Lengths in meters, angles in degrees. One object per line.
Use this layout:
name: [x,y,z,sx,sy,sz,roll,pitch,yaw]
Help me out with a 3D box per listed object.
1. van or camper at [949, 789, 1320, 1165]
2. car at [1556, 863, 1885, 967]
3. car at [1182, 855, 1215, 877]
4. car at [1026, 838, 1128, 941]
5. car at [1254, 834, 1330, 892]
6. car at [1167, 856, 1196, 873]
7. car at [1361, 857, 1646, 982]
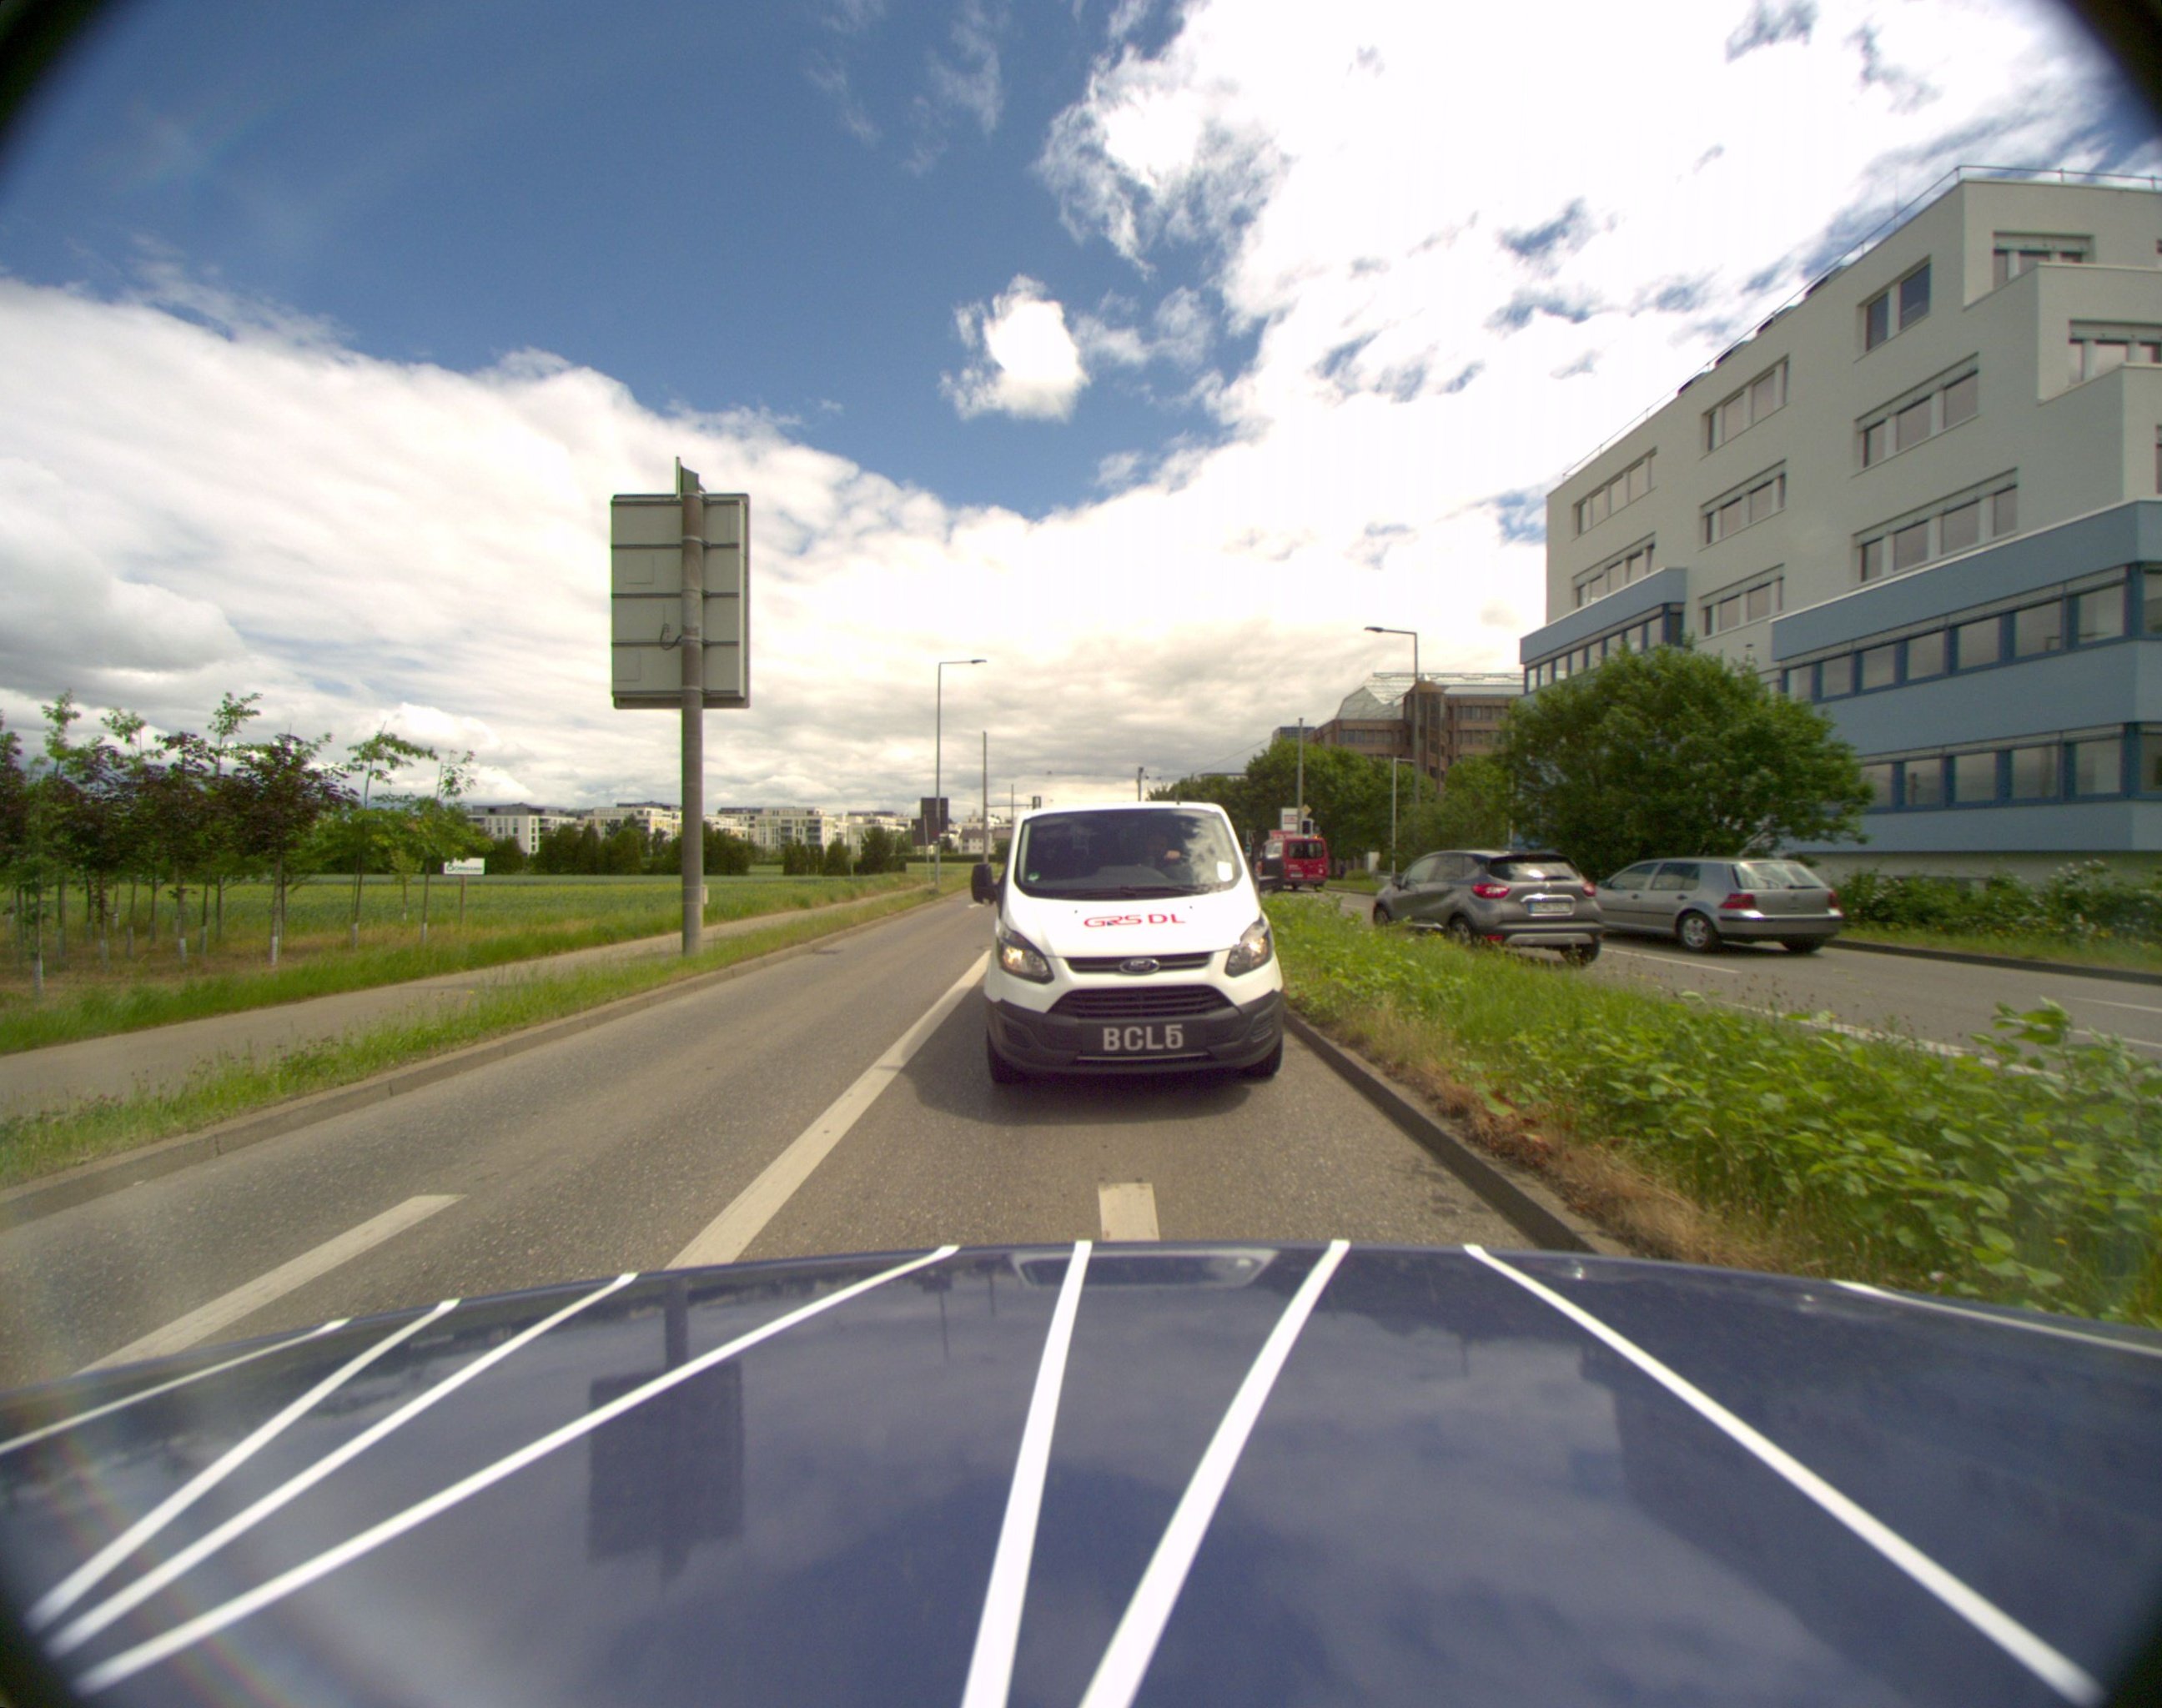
van or camper: [0.181,0.659,6.984,1.999,2.002,5.798,0,0,-2]
car: [9.938,0.849,12.318,1.998,1.346,4.000,-1,0,1]
car: [8.108,0.811,52.614,1.683,1.473,4.000,-1,0,0]
car: [-0.045,0.691,16.924,1.998,2.002,4.000,0,0,1]
car: [9.400,0.362,34.248,1.998,2.398,5.240,0,0,0]
car: [8.634,0.880,65.412,1.937,1.390,4.000,-1,0,0]
car: [5.971,0.814,11.391,1.940,1.508,3.999,-1,0,-2]
